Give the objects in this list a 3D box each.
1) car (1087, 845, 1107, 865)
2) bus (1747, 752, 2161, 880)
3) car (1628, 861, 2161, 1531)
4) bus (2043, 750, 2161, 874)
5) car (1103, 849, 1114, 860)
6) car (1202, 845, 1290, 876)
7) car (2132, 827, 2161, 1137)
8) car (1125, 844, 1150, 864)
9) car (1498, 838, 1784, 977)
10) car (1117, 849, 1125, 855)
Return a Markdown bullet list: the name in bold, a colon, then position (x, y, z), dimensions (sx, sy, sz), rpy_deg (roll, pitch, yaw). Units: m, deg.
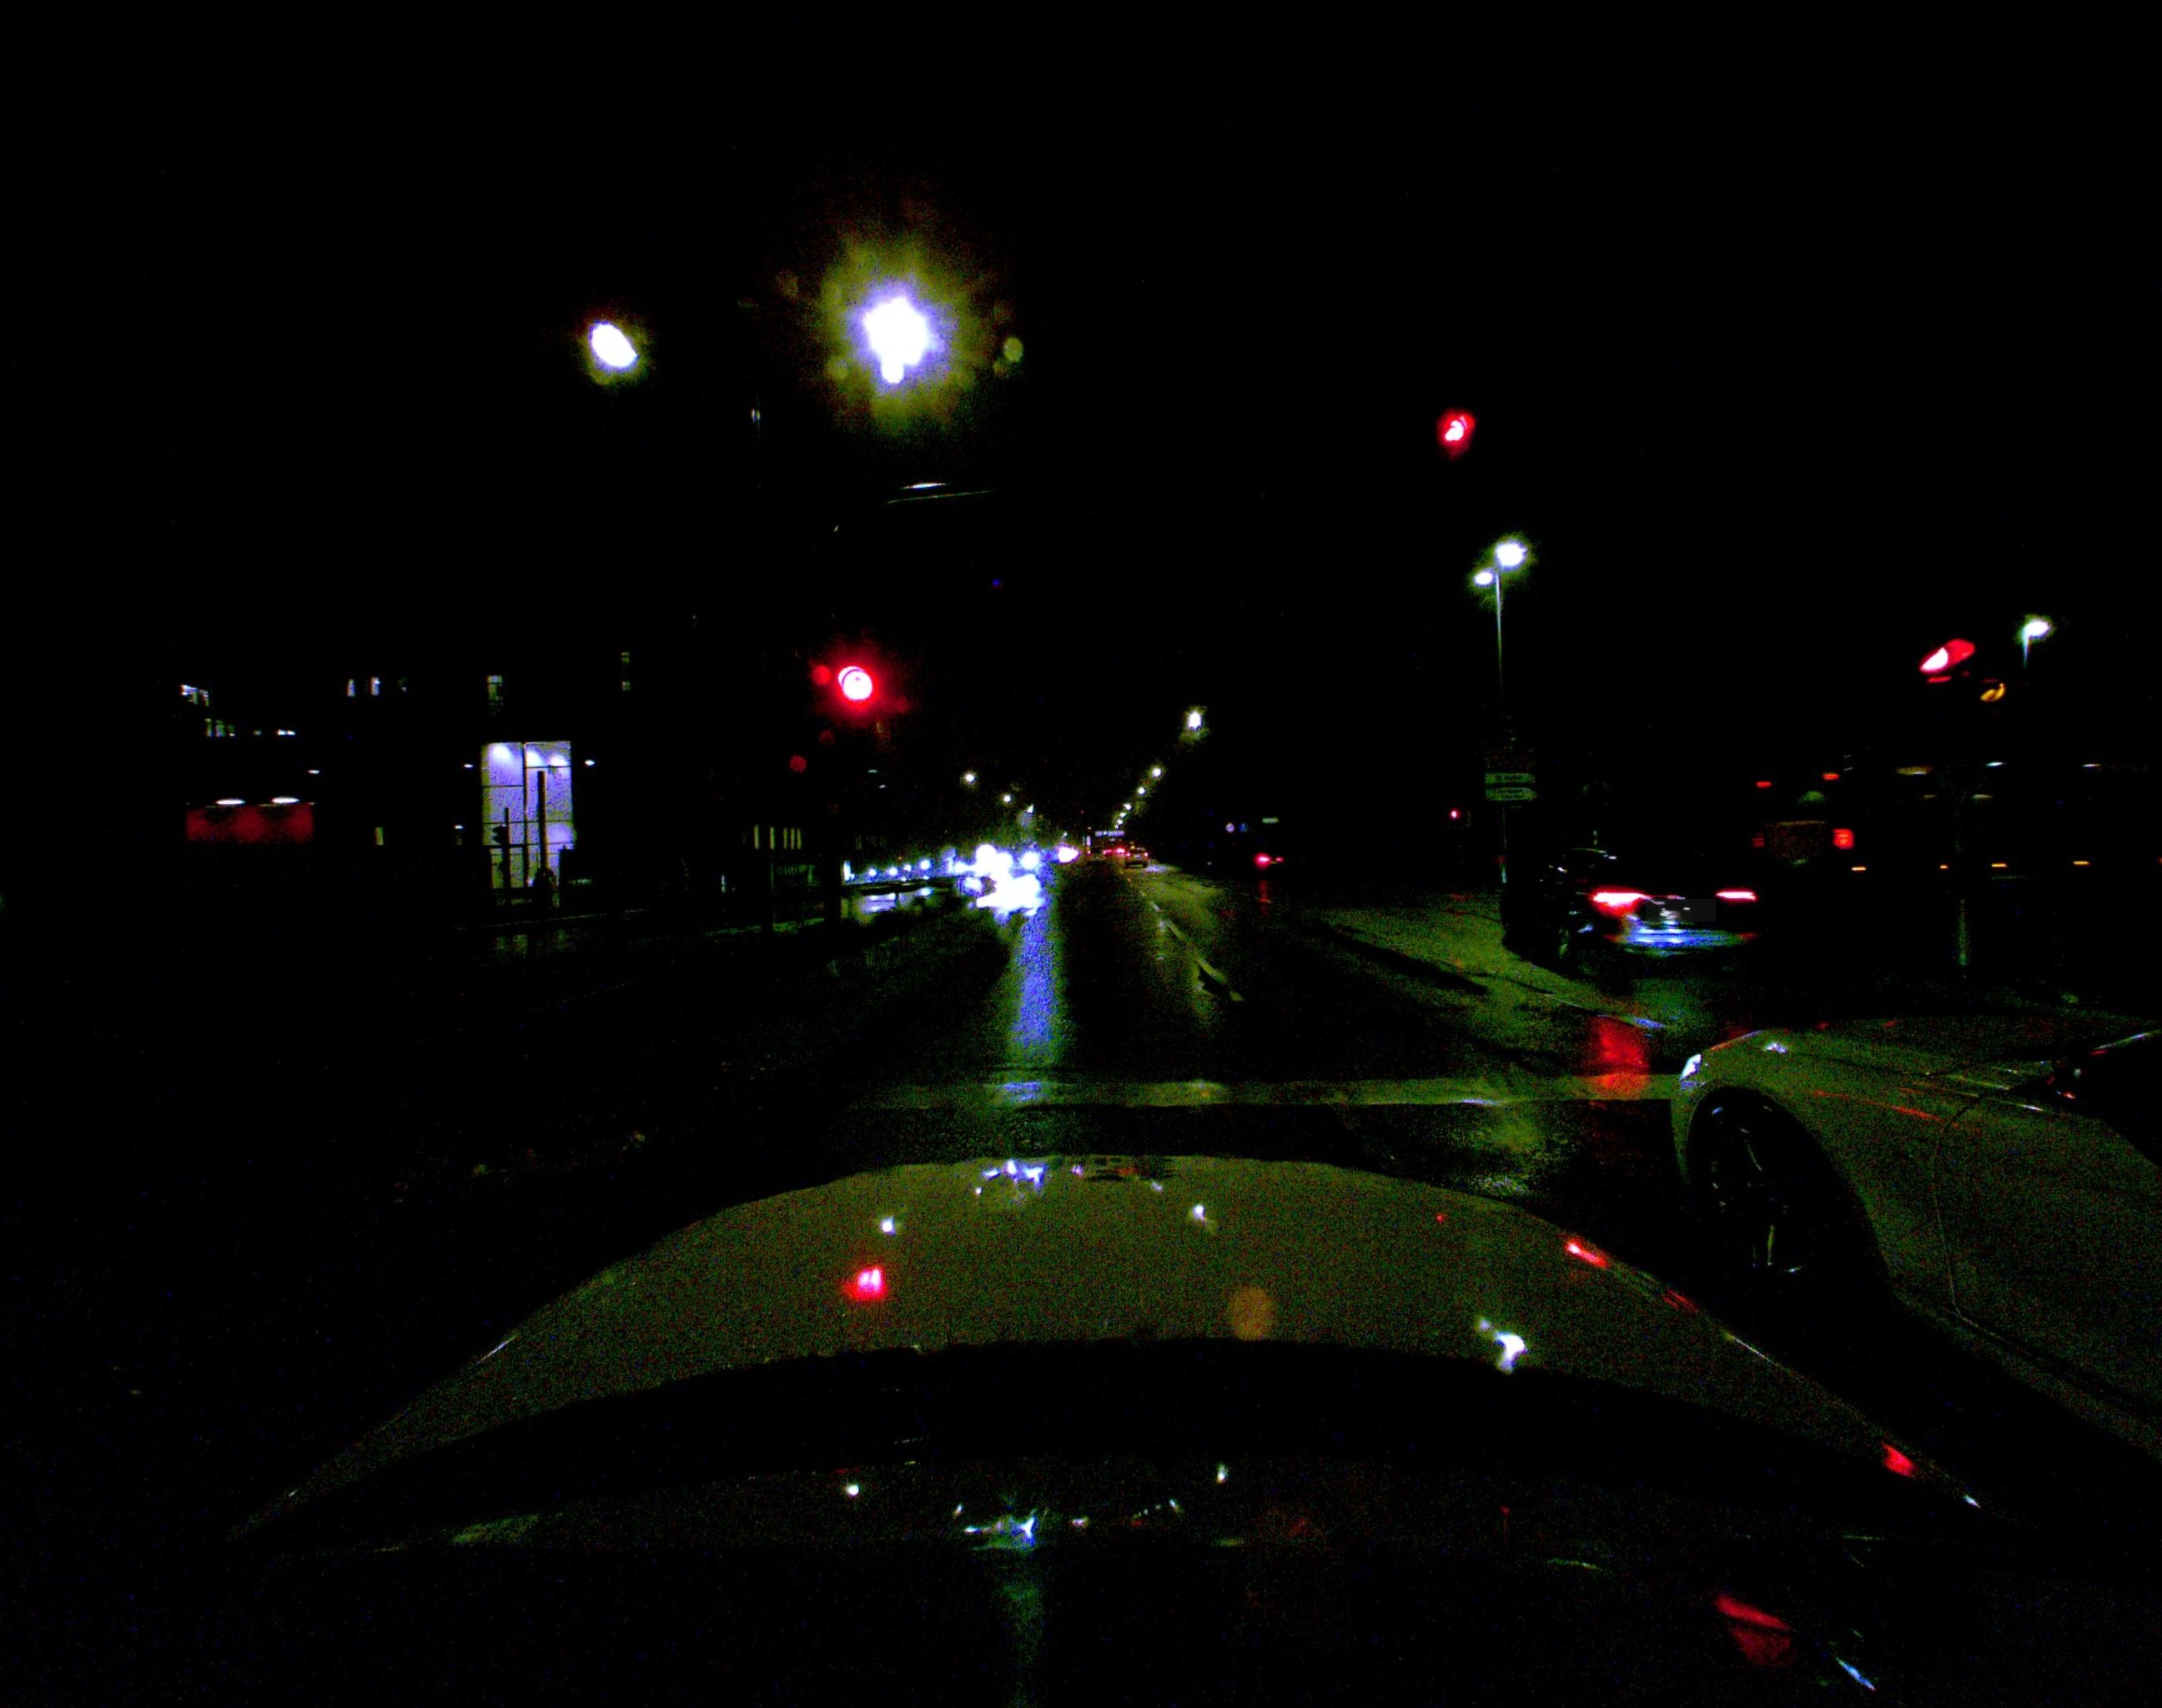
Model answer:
- **car**: position (1.476, 0.112, 75.831), dimensions (1.784, 1.874, 4.628), rpy_deg (0, -1, 1)
- **bus**: position (23.528, -0.972, 21.652), dimensions (9.708, 3.123, 2.775), rpy_deg (-1, 0, -3)
- **car**: position (3.121, 0.719, 1.278), dimensions (1.710, 1.404, 4.351), rpy_deg (0, -1, 2)
- **bus**: position (32.251, -1.110, 21.632), dimensions (9.688, 3.123, 2.780), rpy_deg (0, 0, 3)
- **car**: position (4.963, 0.088, 146.619), dimensions (1.784, 1.874, 4.628), rpy_deg (0, -1, 1)
- **car**: position (8.281, 0.316, 41.093), dimensions (1.806, 1.487, 4.103), rpy_deg (0, -1, -42)
- **car**: position (6.104, 0.610, 1.701), dimensions (1.842, 1.484, 4.628), rpy_deg (-2, 1, -1)
- **car**: position (4.706, 0.022, 68.723), dimensions (1.785, 1.679, 4.427), rpy_deg (0, -1, 0)
- **car**: position (7.217, 0.588, 11.126), dimensions (1.823, 1.478, 4.648), rpy_deg (-1, -1, 16)
- **car**: position (10.876, -0.516, 220.840), dimensions (1.986, 1.759, 4.001), rpy_deg (0, -1, 2)
